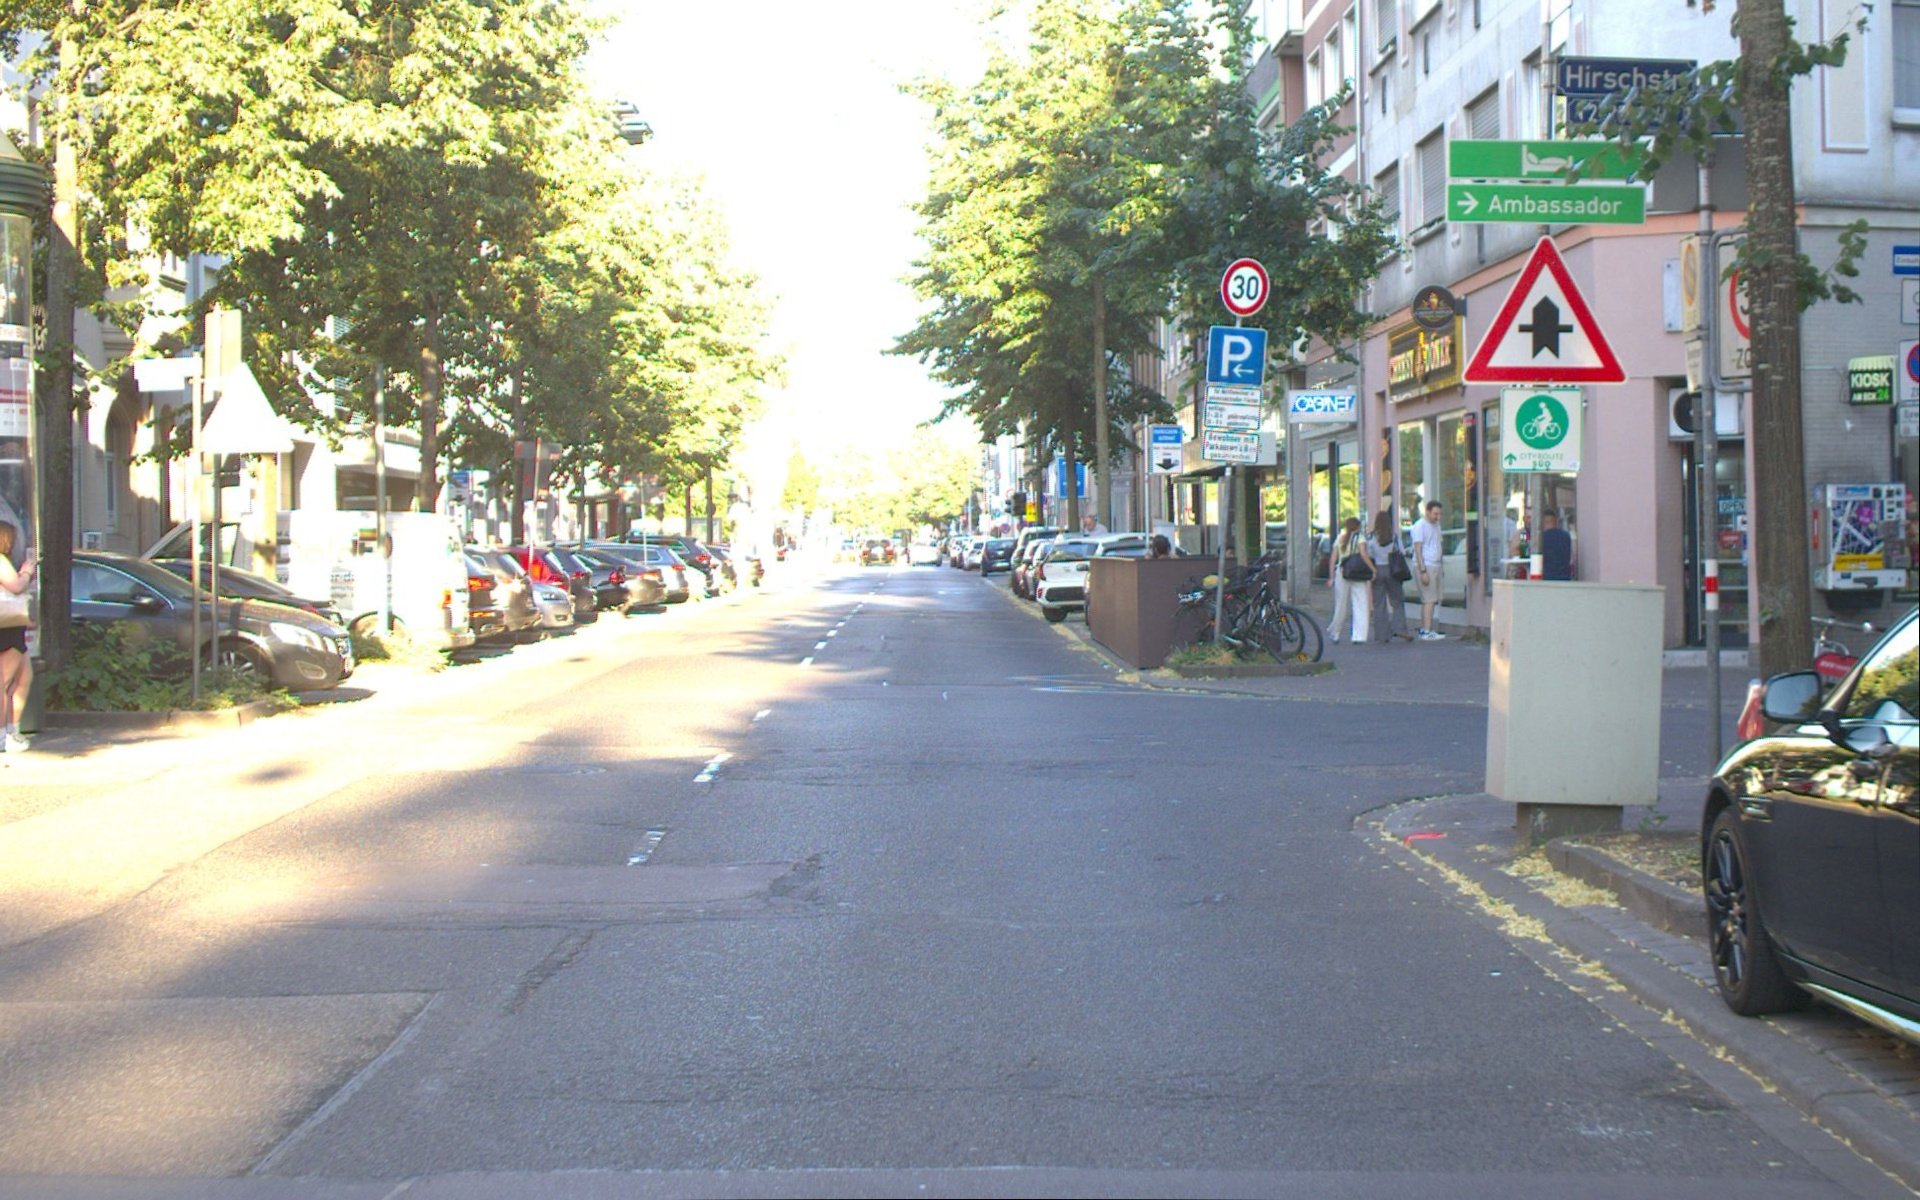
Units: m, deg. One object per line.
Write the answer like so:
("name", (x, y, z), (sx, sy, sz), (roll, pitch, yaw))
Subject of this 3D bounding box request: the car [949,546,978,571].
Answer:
("car", (0.192, -2.190, 181.342), (1.513, 1.294, 3.304), (0, 1, 1))

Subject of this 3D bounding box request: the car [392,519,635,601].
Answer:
("car", (-8.623, -0.772, 66.625), (4.442, 1.562, 1.919), (0, 1, 0))

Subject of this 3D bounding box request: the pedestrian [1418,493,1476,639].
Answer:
("pedestrian", (6.079, -0.429, 42.928), (0.698, 1.798, 0.891), (0, 1, 8))

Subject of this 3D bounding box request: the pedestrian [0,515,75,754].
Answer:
("pedestrian", (-6.856, 0.235, 24.626), (0.710, 1.680, 0.833), (0, 1, 9))

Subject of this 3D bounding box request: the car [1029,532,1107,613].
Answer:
("car", (2.147, -0.559, 68.913), (1.513, 1.572, 3.218), (0, 1, 1))

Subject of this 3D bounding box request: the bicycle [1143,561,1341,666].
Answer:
("bicycle", (2.958, 0.127, 36.127), (1.957, 1.070, 0.704), (0, 1, 31))

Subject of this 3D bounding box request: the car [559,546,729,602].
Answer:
("car", (-8.587, -0.720, 93.646), (4.442, 1.494, 1.919), (0, 1, 0))

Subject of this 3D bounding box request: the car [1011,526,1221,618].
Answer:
("car", (2.785, -0.519, 60.860), (1.674, 1.583, 3.814), (1, 1, 42))

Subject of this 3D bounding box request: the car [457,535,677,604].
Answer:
("car", (-8.331, -0.656, 73.150), (4.442, 1.444, 1.919), (0, 1, 0))

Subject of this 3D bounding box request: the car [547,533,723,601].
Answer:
("car", (-8.535, -0.870, 90.524), (4.442, 1.753, 1.919), (0, 1, 0))

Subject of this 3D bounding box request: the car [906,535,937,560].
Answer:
("car", (-2.227, -3.067, 201.122), (1.721, 1.470, 3.304), (-1, 1, 1))

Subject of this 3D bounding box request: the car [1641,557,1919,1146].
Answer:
("car", (3.198, 0.593, 9.037), (1.785, 1.370, 4.524), (-3, 1, -1))

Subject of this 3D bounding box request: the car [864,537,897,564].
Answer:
("car", (-4.632, -2.877, 200.374), (1.752, 1.535, 3.304), (-1, 1, 1))

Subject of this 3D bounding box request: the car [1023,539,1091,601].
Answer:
("car", (2.267, -0.718, 80.983), (1.513, 1.401, 3.837), (0, 1, 0))

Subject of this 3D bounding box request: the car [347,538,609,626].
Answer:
("car", (-8.638, -0.331, 61.916), (4.442, 1.562, 1.919), (0, 1, 0))

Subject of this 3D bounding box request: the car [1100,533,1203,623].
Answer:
("car", (3.091, -0.378, 56.108), (1.543, 1.428, 3.678), (0, 1, 1))

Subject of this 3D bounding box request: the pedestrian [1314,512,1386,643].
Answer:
("pedestrian", (4.870, -0.284, 42.926), (0.797, 1.620, 0.911), (0, 1, 12))

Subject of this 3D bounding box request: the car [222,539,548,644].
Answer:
("car", (-8.326, -0.134, 50.055), (4.442, 1.501, 1.845), (0, 1, 0))

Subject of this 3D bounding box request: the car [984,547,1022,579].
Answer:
("car", (1.742, -1.499, 140.358), (1.513, 1.271, 3.304), (0, 1, 1))

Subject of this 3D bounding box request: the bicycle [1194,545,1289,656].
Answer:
("bicycle", (3.088, -0.011, 37.586), (0.598, 1.173, 1.844), (0, 1, 19))

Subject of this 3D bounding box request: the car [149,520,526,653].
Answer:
("car", (-8.102, -0.194, 45.056), (4.571, 1.692, 2.060), (0, 1, 0))

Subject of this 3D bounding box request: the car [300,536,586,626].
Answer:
("car", (-8.521, -0.322, 56.928), (4.442, 1.453, 1.859), (0, 1, 0))

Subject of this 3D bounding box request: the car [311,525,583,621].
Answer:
("car", (-8.877, -0.475, 59.683), (4.442, 1.633, 1.859), (0, 1, 0))

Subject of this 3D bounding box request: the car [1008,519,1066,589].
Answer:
("car", (2.060, -1.236, 92.731), (1.513, 1.858, 4.235), (0, 1, 1))

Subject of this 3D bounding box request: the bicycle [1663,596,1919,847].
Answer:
("bicycle", (4.024, 0.555, 16.687), (0.778, 1.108, 1.899), (-2, 1, -1))

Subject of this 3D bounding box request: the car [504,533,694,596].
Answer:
("car", (-8.791, -0.869, 84.021), (4.442, 1.517, 1.919), (0, 1, 0))

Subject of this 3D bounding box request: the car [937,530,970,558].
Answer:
("car", (-0.354, -3.119, 192.767), (1.752, 1.535, 3.304), (-1, 1, 1))

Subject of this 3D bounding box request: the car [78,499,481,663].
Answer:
("car", (-8.297, -0.238, 42.206), (4.571, 1.955, 1.991), (0, 1, -1))

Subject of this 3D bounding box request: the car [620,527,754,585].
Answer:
("car", (-9.363, -1.503, 118.029), (4.442, 1.953, 1.919), (0, 1, 0))

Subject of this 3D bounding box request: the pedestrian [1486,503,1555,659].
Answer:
("pedestrian", (5.872, -0.208, 36.057), (0.567, 1.594, 0.663), (-2, 2, 0))

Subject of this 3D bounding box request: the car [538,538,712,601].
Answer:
("car", (-8.592, -0.782, 88.422), (4.304, 1.592, 1.919), (0, 1, 0))

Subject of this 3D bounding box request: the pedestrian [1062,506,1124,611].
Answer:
("pedestrian", (2.442, -0.768, 63.241), (0.916, 1.919, 1.018), (1, 1, -10))

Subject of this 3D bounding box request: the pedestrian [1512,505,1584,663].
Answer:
("pedestrian", (6.033, -0.172, 35.293), (0.567, 1.578, 0.663), (-2, 2, 0))

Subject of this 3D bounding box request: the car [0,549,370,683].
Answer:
("car", (-8.509, 0.165, 37.299), (3.791, 1.387, 2.043), (0, 0, 3))

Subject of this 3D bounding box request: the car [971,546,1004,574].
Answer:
("car", (1.287, -1.838, 158.544), (1.513, 1.259, 3.304), (0, 1, 1))

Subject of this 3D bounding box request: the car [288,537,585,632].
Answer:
("car", (-8.278, -0.257, 54.624), (4.442, 1.479, 1.809), (0, 1, 0))

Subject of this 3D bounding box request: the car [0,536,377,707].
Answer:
("car", (-7.808, 0.178, 31.845), (4.546, 1.536, 1.811), (0, 1, -1))

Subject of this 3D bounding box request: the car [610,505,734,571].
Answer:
("car", (-10.701, -2.304, 127.956), (4.442, 2.426, 1.919), (0, 1, 0))

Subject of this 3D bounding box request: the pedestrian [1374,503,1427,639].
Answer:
("pedestrian", (5.494, -0.362, 42.834), (0.631, 1.674, 0.891), (0, 1, 9))
